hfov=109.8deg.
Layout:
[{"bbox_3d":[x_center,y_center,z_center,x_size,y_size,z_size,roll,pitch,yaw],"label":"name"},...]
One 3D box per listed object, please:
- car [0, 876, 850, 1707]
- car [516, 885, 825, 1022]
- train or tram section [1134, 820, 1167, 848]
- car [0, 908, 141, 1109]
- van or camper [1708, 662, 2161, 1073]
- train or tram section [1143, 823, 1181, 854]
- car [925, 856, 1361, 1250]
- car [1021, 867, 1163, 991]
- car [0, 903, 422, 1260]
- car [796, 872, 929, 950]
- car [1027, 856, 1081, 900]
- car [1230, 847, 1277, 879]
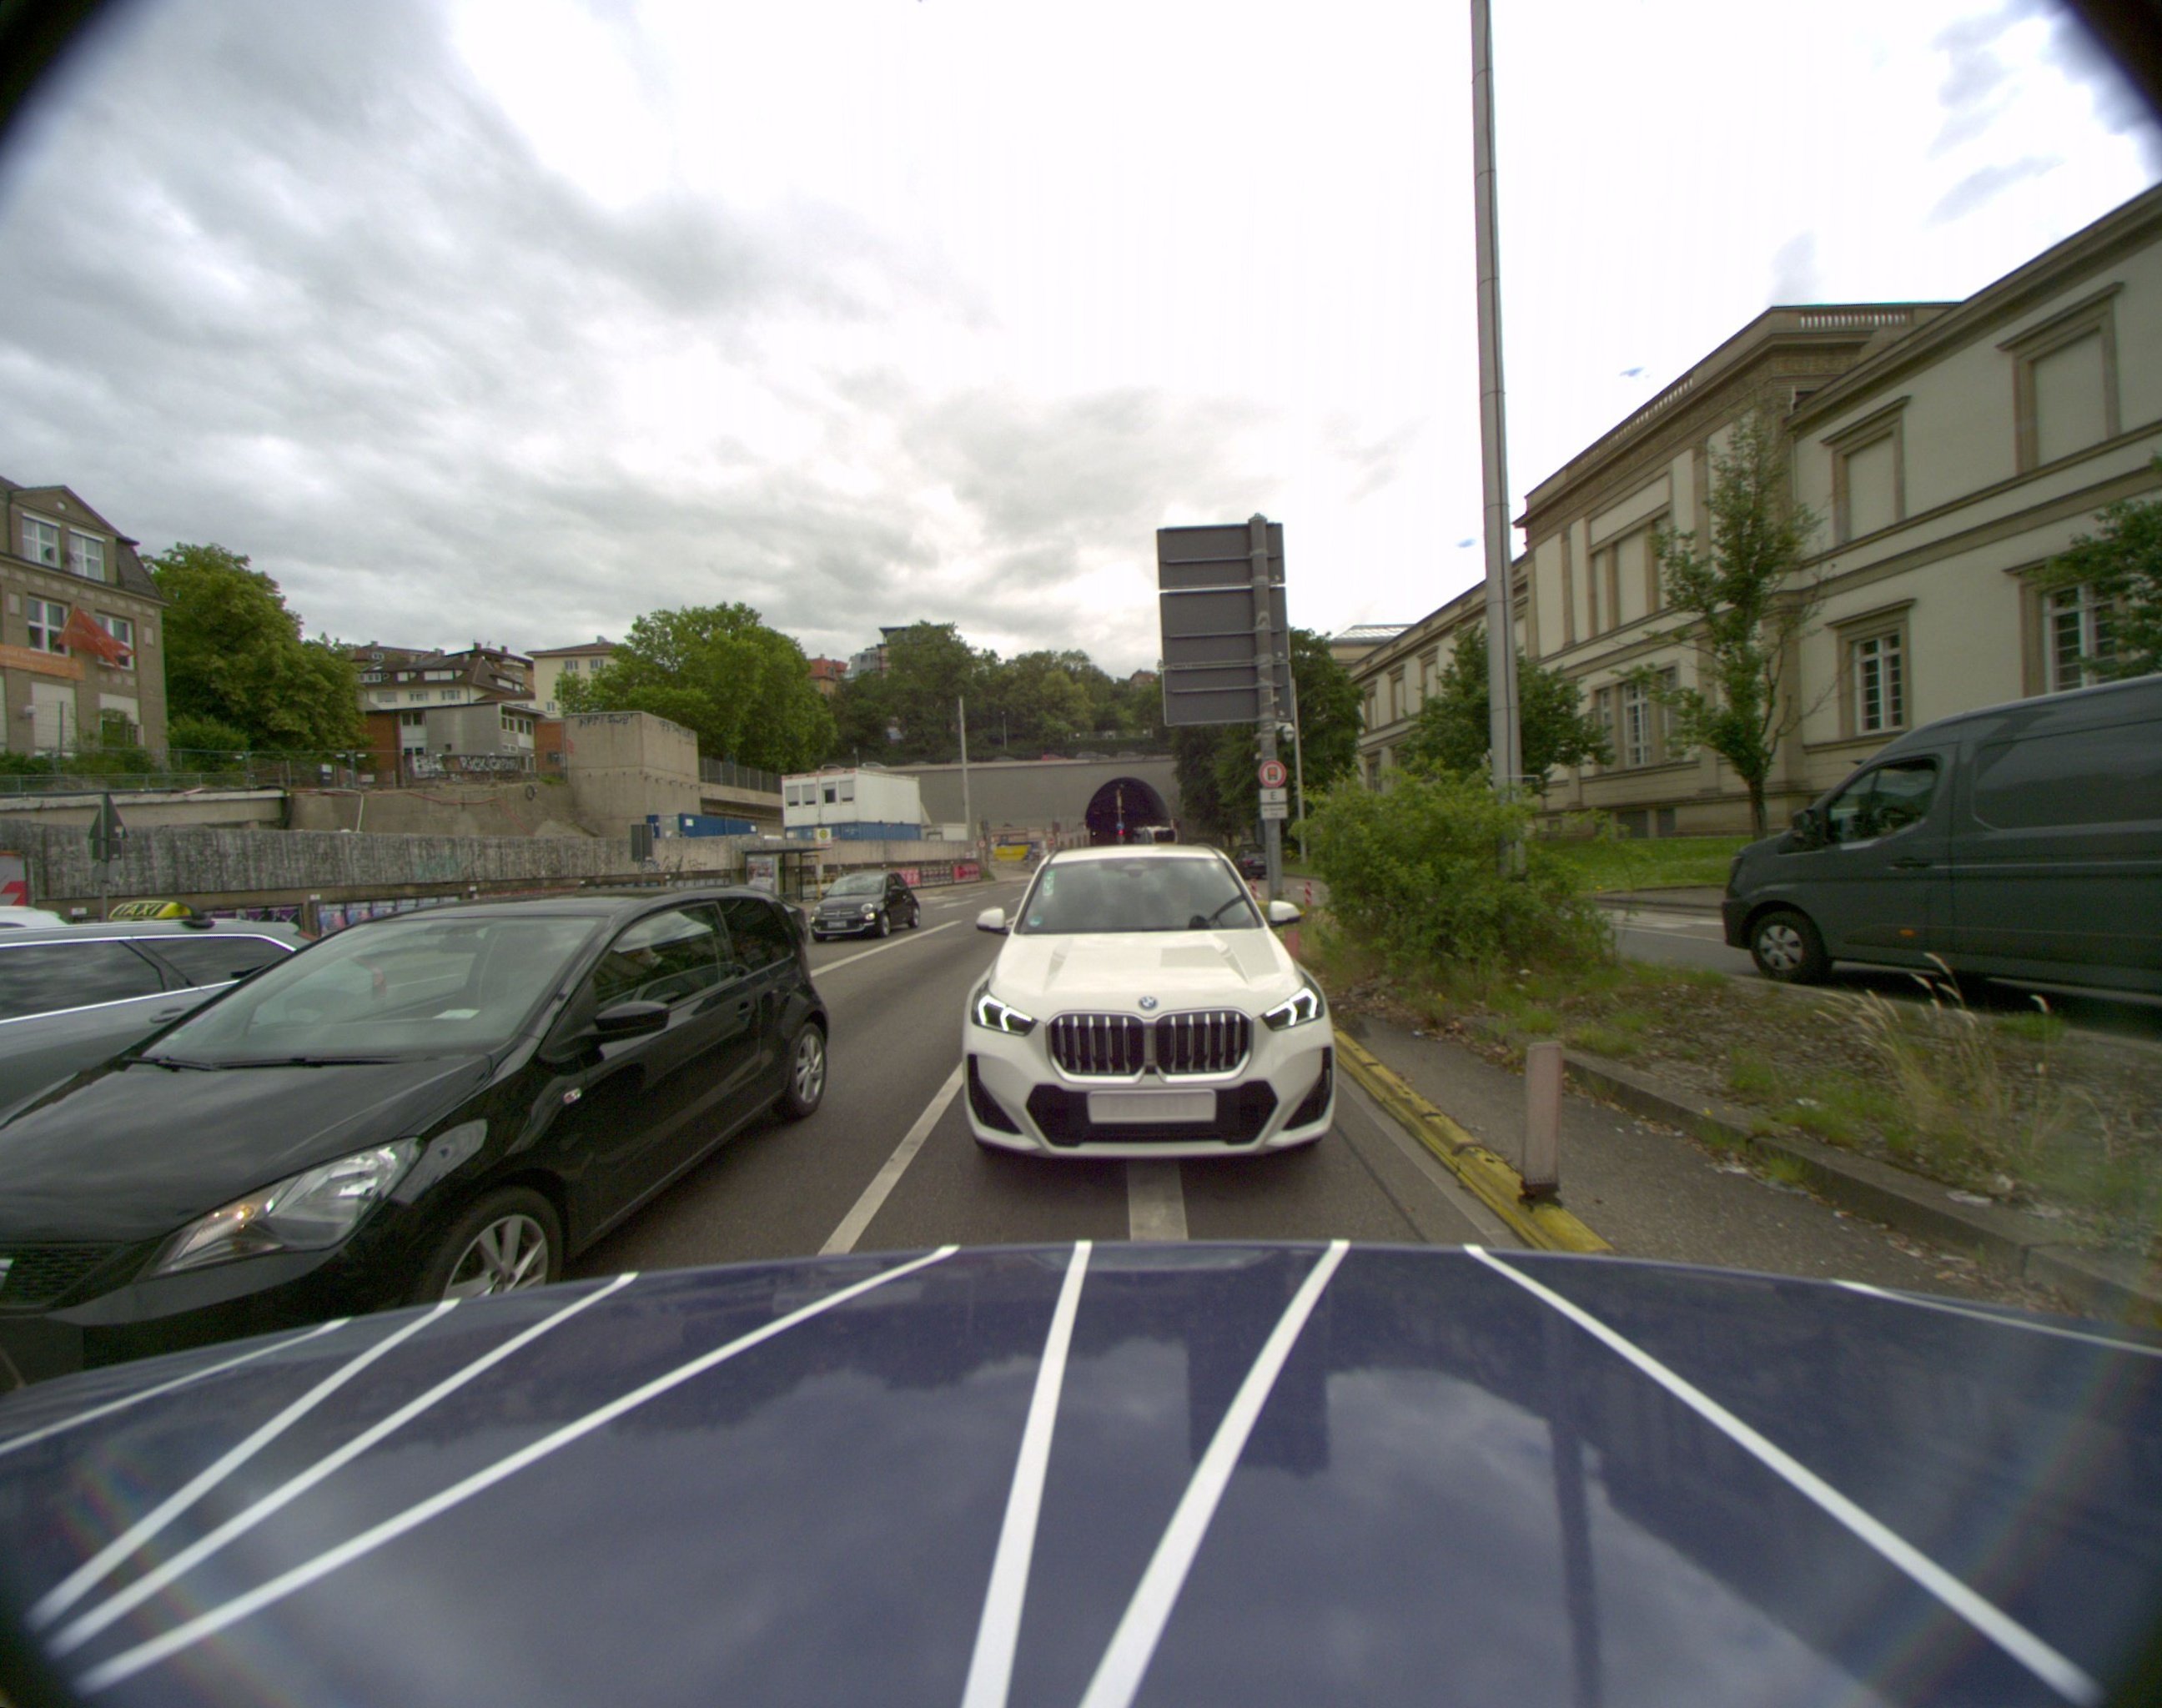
[{"bbox_3d":[-2.529,0.978,3.277,1.661,1.547,3.911,-2,1,3],"label":"car"},{"bbox_3d":[-5.398,1.226,10.763,1.826,1.356,4.219,-2,0,4],"label":"car"},{"bbox_3d":[8.026,-2.263,88.930,2.701,3.053,9.374,-1,0,-2],"label":"train or tram section"},{"bbox_3d":[-9.150,1.259,4.582,1.826,1.457,4.073,-2,1,0],"label":"car"},{"bbox_3d":[7.890,0.054,5.045,2.158,2.594,6.082,-2,0,-3],"label":"van or camper"},{"bbox_3d":[8.330,-1.552,79.583,2.701,3.053,9.335,-1,0,-2],"label":"train or tram section"},{"bbox_3d":[0.340,0.847,5.124,1.756,1.547,3.911,-2,1,3],"label":"car"},{"bbox_3d":[0.223,0.990,11.600,1.756,1.427,3.911,-2,0,3],"label":"car"},{"bbox_3d":[-5.824,1.143,3.457,1.826,1.457,4.217,-2,1,2],"label":"car"},{"bbox_3d":[-4.930,1.227,17.718,1.720,1.450,3.782,-3,0,4],"label":"car"},{"bbox_3d":[-1.016,0.917,30.734,1.948,1.565,3.999,-2,1,1],"label":"car"},{"bbox_3d":[9.571,0.443,42.429,1.884,1.616,4.372,-2,1,4],"label":"car"}]
